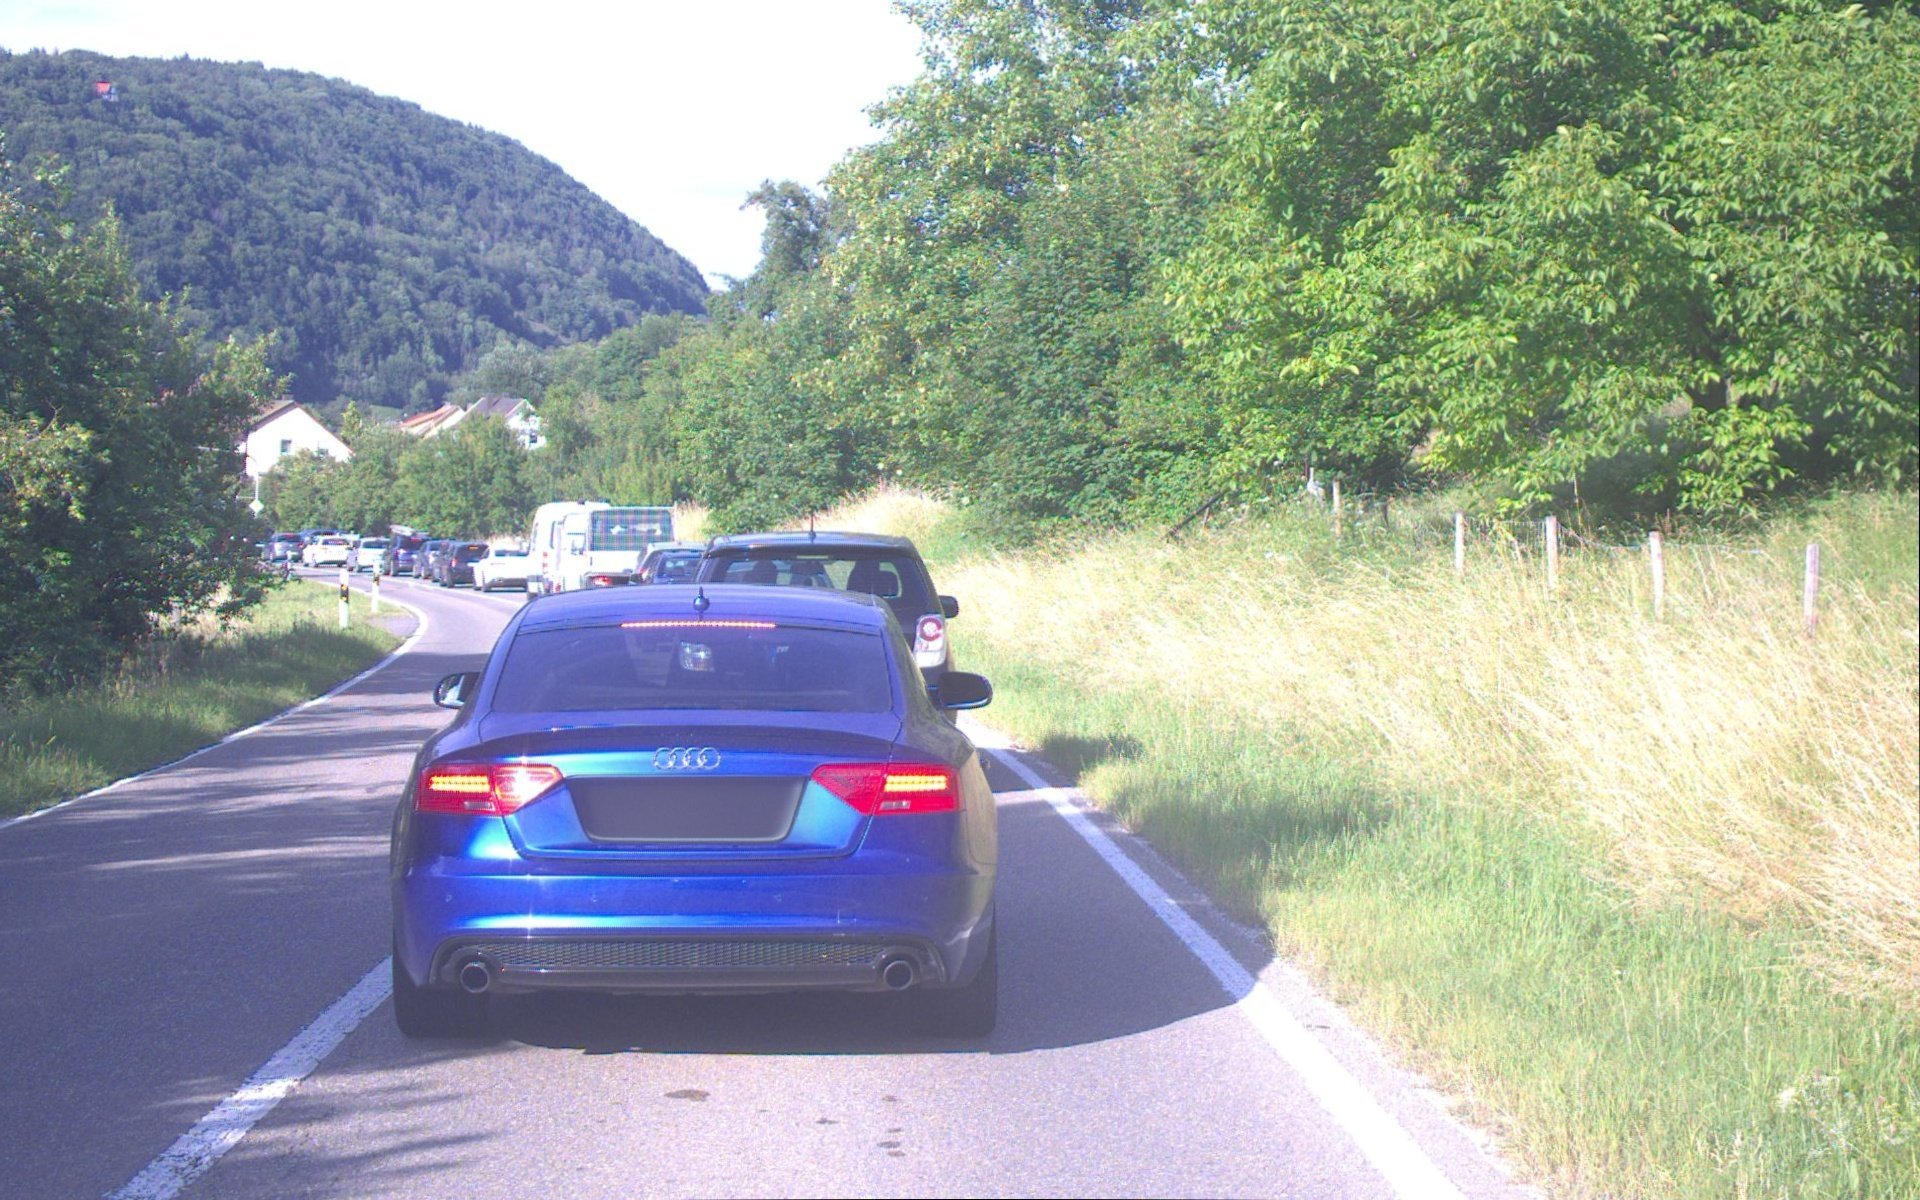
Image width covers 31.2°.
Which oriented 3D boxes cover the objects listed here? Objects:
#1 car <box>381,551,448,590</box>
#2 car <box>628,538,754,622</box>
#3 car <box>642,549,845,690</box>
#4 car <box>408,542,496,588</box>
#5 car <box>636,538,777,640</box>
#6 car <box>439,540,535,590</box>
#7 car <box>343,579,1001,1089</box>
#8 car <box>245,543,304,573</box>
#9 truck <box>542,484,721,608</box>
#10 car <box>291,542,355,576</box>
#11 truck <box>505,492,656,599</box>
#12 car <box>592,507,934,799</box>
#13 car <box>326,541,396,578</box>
[{"bbox_3d":[-21.313,-1.159,134.268,1.993,1.477,4.001,0,0,-18],"label":"car"},{"bbox_3d":[-4.972,-0.376,63.135,1.993,1.477,4.001,1,0,-9],"label":"car"},{"bbox_3d":[-2.221,0.178,36.221,1.993,1.382,4.000,1,0,-2],"label":"car"},{"bbox_3d":[-16.748,-1.167,113.253,1.993,1.477,4.001,0,0,-22],"label":"car"},{"bbox_3d":[-3.912,-0.178,52.520,1.993,1.477,4.001,1,0,-6],"label":"car"},{"bbox_3d":[-14.595,-1.084,105.927,1.993,1.477,4.001,0,0,-22],"label":"car"},{"bbox_3d":[-0.814,0.628,11.407,1.793,1.355,4.000,0,1,-1],"label":"car"},{"bbox_3d":[-33.567,-2.057,168.335,1.993,1.477,4.001,0,0,-24],"label":"car"},{"bbox_3d":[-7.728,-1.245,79.581,2.863,2.656,10.396,1,1,-12],"label":"truck"},{"bbox_3d":[-28.929,-1.860,156.004,1.993,1.477,4.001,0,0,-24],"label":"car"},{"bbox_3d":[-10.213,-1.461,91.570,2.863,2.656,10.648,1,1,-12],"label":"truck"},{"bbox_3d":[-1.219,0.297,22.225,1.993,1.696,4.000,1,0,-2],"label":"car"},{"bbox_3d":[-25.058,-1.693,143.745,1.993,1.477,4.001,0,0,-24],"label":"car"}]
